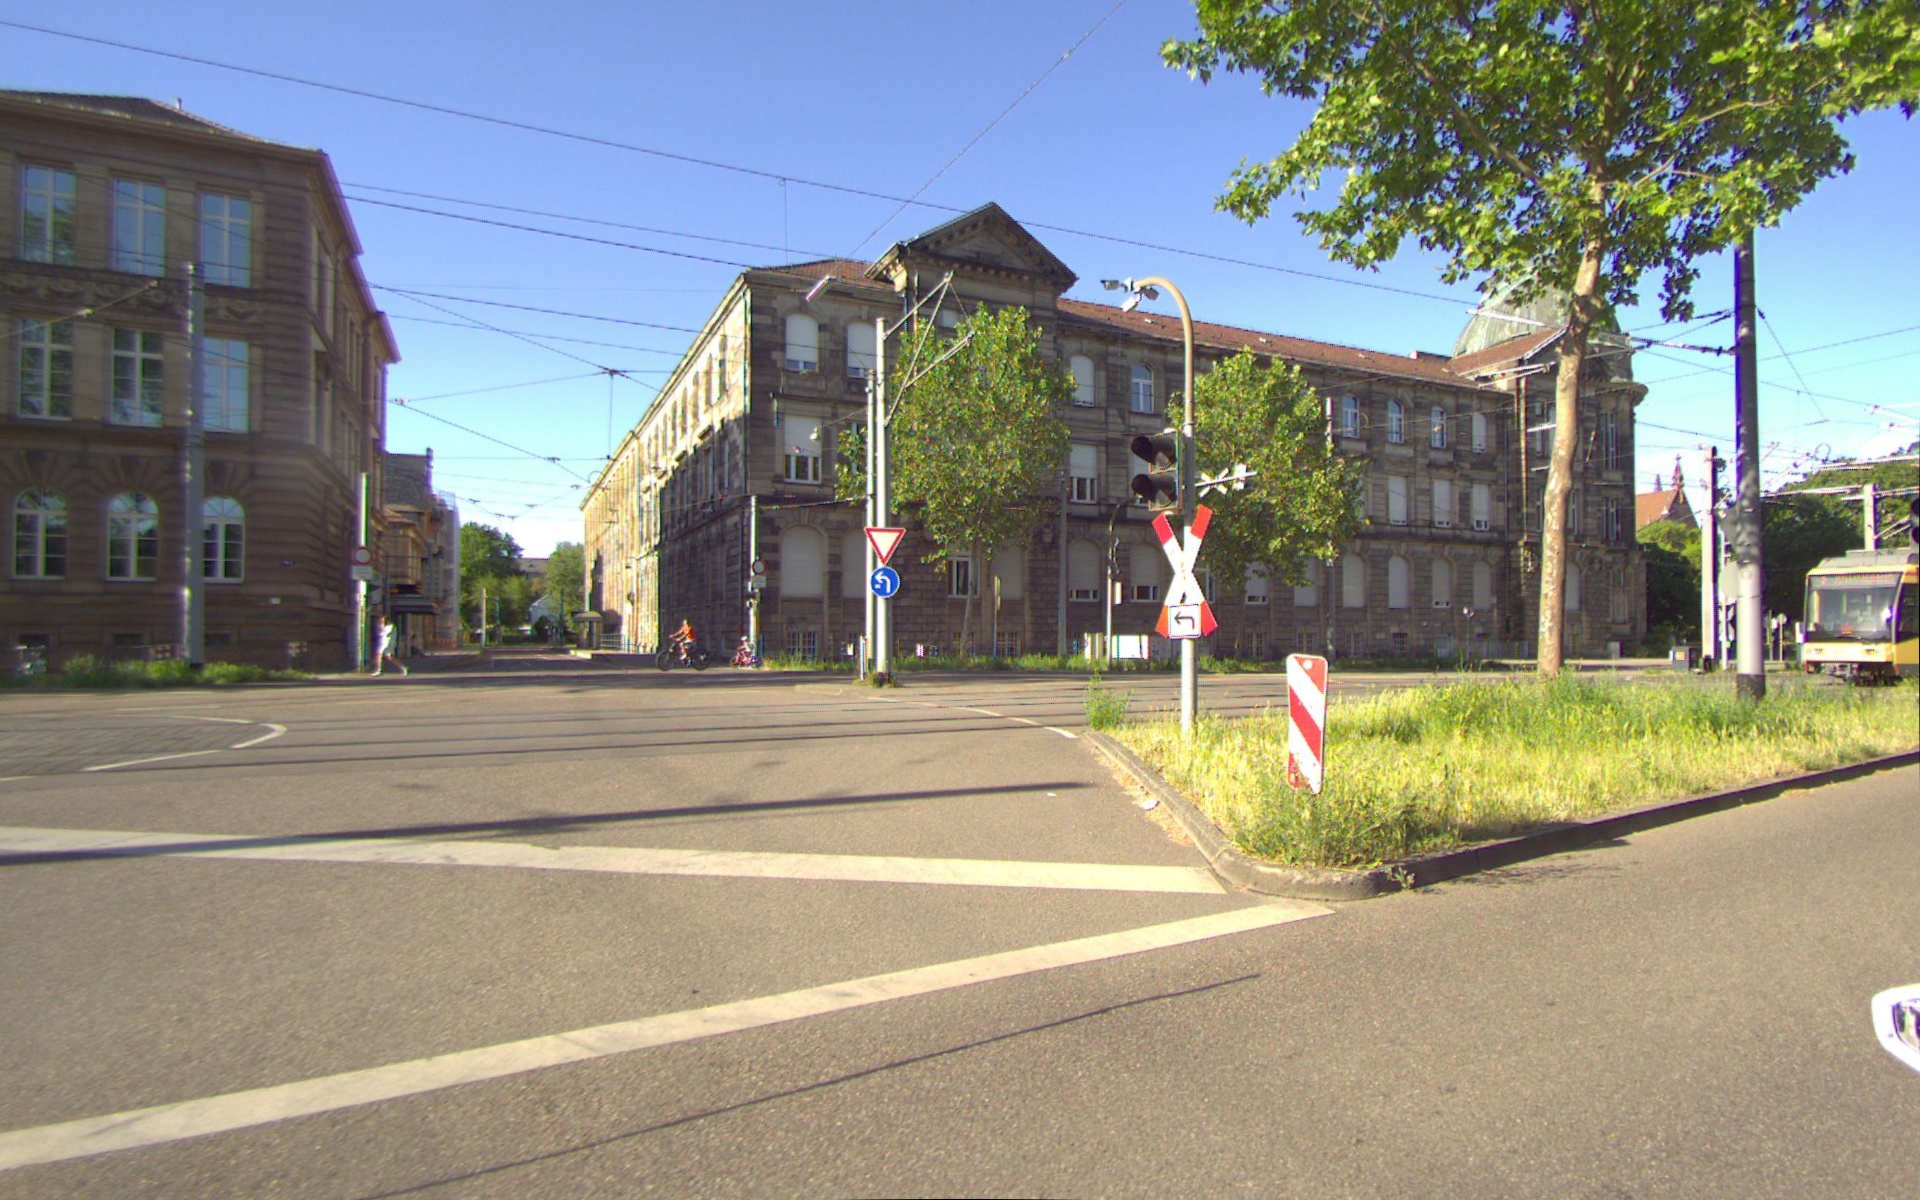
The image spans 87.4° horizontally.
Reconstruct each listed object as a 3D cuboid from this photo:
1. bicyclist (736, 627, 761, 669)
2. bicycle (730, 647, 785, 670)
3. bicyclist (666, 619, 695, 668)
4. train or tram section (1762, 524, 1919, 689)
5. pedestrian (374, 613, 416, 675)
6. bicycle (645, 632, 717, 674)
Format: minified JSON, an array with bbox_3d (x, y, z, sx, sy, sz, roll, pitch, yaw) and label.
[{"bbox_3d":[-7.654,1.740,36.385,0.716,1.481,0.797,1,0,1],"label":"bicyclist"},{"bbox_3d":[-7.339,2.114,36.389,1.863,0.732,0.526,2,0,2],"label":"bicycle"},{"bbox_3d":[-9.644,1.483,34.669,0.860,1.646,0.671,1,0,-27],"label":"bicyclist"},{"bbox_3d":[27.637,0.302,28.147,14.100,3.863,2.916,2,0,-29],"label":"train or tram section"},{"bbox_3d":[-17.166,1.333,30.527,0.988,1.824,0.860,1,0,-24],"label":"pedestrian"},{"bbox_3d":[-9.635,1.816,34.678,2.318,1.408,0.523,1,0,-24],"label":"bicycle"}]
